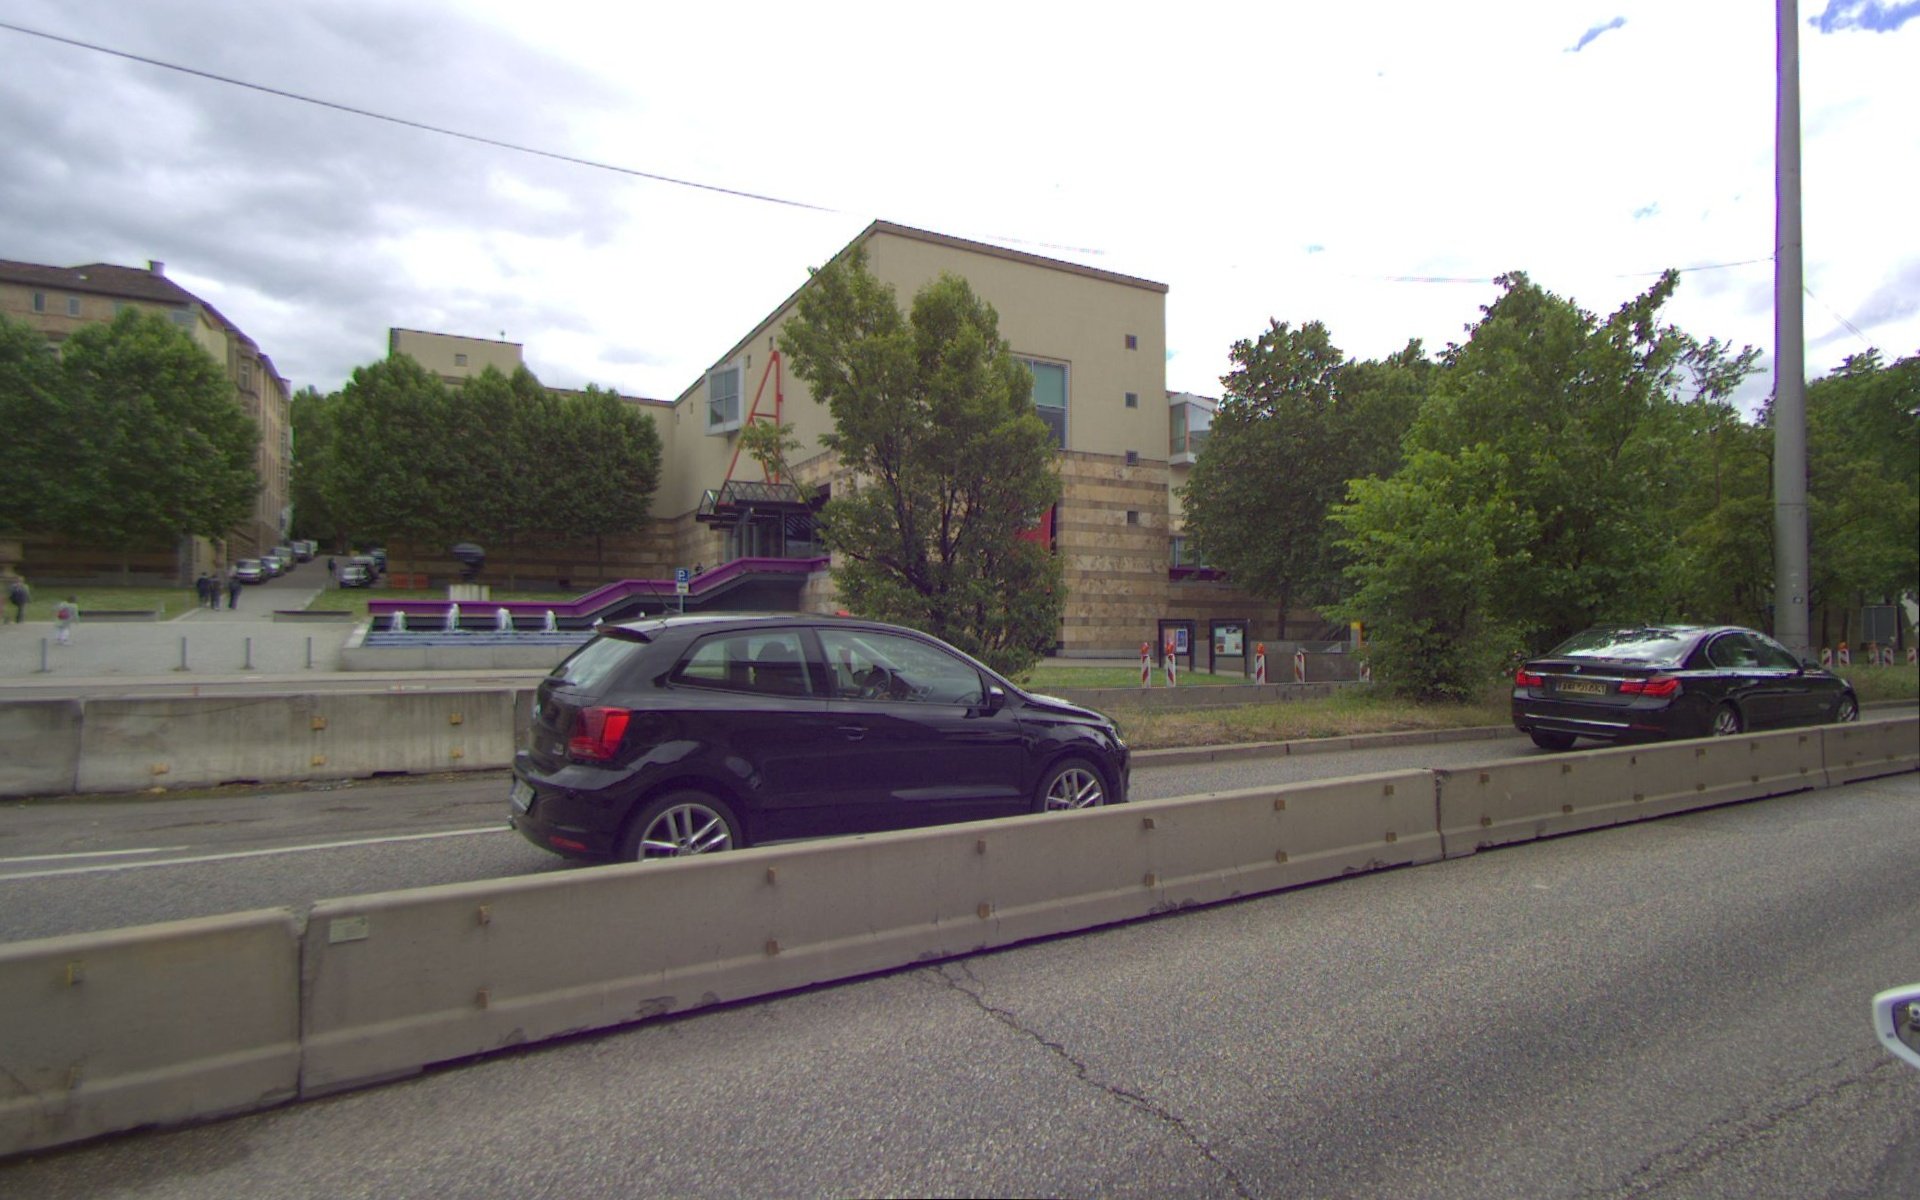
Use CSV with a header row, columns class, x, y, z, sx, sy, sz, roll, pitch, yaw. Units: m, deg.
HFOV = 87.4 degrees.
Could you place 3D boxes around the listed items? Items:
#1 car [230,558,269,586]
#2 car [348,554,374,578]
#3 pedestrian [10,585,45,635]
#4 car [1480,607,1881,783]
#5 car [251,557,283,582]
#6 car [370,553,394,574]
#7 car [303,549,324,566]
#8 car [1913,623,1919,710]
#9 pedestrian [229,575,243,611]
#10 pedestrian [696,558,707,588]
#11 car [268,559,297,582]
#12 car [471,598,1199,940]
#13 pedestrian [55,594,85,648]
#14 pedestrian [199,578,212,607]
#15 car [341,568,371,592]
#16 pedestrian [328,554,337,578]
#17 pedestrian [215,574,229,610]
class,x,y,z,sx,sy,sz,roll,pitch,yaw
car,-49.877,-1.947,70.547,1.589,1.822,3.782,1,0,-26
car,-47.831,-2.665,80.258,1.591,1.822,3.778,2,0,-29
pedestrian,-35.673,0.377,38.416,0.794,1.877,0.689,2,1,-29
car,8.372,0.957,11.561,4.878,1.657,1.915,1,-1,-30
car,-53.482,-2.310,77.567,1.590,1.822,3.780,1,0,-27
car,-53.436,-3.362,92.843,1.589,1.822,3.782,2,0,-26
car,-69.912,-4.618,108.638,1.590,1.632,3.780,1,0,-27
car,19.164,1.195,17.957,4.711,1.519,1.808,1,-1,-30
pedestrian,-36.214,-0.334,50.226,0.472,1.772,0.642,1,0,-31
pedestrian,-17.786,-1.835,69.071,0.593,2.040,0.409,2,1,-30
car,-57.853,-2.485,85.801,1.590,1.822,3.780,1,0,-27
car,-0.598,0.774,6.182,4.154,1.473,1.649,2,-1,-34
pedestrian,-28.833,0.681,32.535,0.686,1.717,0.525,1,0,29
pedestrian,-38.610,-0.384,51.398,0.472,1.441,0.402,1,0,-31
car,-41.297,-1.354,68.766,1.591,1.557,3.778,2,0,-29
pedestrian,-48.884,-2.660,78.267,0.535,1.808,0.464,2,-1,-26
pedestrian,-36.689,-0.377,49.935,0.472,1.772,0.642,1,0,-31
